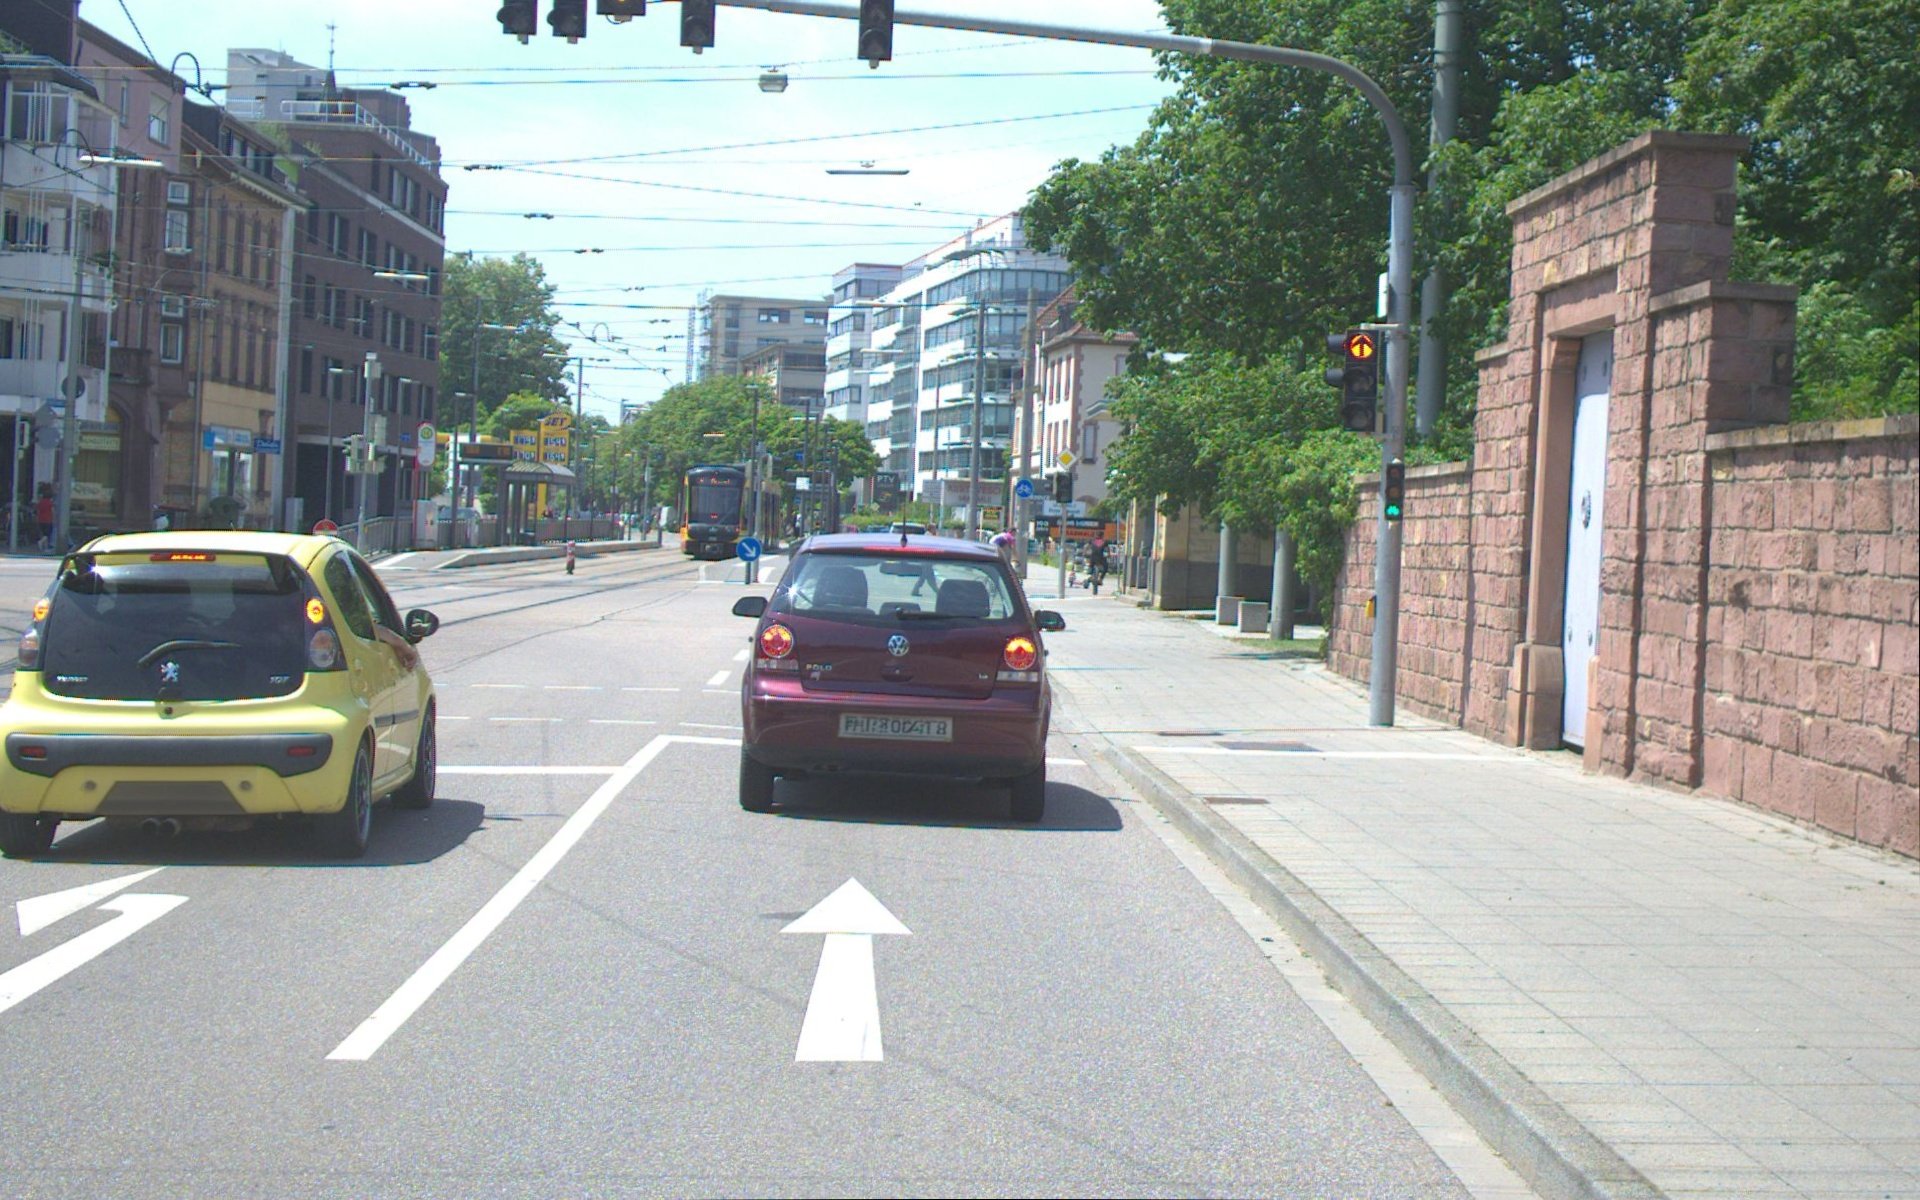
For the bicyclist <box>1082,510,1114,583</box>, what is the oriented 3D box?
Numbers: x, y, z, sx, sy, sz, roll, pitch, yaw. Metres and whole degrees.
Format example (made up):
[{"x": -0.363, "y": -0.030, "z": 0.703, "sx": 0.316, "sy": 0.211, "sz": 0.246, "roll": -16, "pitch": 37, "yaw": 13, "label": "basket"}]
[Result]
[{"x": 3.458, "y": -1.350, "z": 86.330, "sx": 0.721, "sy": 1.812, "sz": 0.888, "roll": 1, "pitch": 0, "yaw": -1, "label": "bicyclist"}]

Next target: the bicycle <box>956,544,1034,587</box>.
[{"x": 0.862, "y": -0.853, "z": 85.053, "sx": 1.865, "sy": 1.004, "sz": 0.579, "roll": 1, "pitch": 0, "yaw": -5, "label": "bicycle"}]

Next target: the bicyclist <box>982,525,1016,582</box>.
[{"x": 0.960, "y": -1.147, "z": 85.016, "sx": 0.765, "sy": 1.401, "sz": 0.506, "roll": 1, "pitch": 0, "yaw": -4, "label": "bicyclist"}]

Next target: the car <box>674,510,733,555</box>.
[{"x": -9.534, "y": -2.502, "z": 128.180, "sx": 1.938, "sy": 1.635, "sz": 4.000, "roll": 1, "pitch": 1, "yaw": -1, "label": "car"}]

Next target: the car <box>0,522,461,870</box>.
[{"x": -3.449, "y": 0.375, "z": 16.355, "sx": 1.723, "sy": 1.440, "sz": 3.293, "roll": 1, "pitch": 2, "yaw": -1, "label": "car"}]

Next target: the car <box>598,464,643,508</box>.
[{"x": -16.331, "y": -5.471, "z": 165.467, "sx": 1.735, "sy": 2.007, "sz": 4.000, "roll": 2, "pitch": 1, "yaw": -1, "label": "car"}]

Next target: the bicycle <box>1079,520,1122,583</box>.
[{"x": 3.492, "y": -1.199, "z": 85.659, "sx": 0.835, "sy": 1.520, "sz": 4.000, "roll": 1, "pitch": 1, "yaw": -1, "label": "bicycle"}]

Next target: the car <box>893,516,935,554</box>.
[{"x": -1.763, "y": -2.473, "z": 130.775, "sx": 1.572, "sy": 1.411, "sz": 3.720, "roll": 0, "pitch": 1, "yaw": -1, "label": "car"}]

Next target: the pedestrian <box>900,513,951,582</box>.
[{"x": -0.860, "y": -1.312, "z": 85.010, "sx": 0.981, "sy": 1.655, "sz": 0.919, "roll": 2, "pitch": 1, "yaw": -16, "label": "pedestrian"}]

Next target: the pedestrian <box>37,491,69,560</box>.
[{"x": -23.152, "y": -1.901, "z": 87.763, "sx": 0.609, "sy": 1.748, "sz": 0.505, "roll": 1, "pitch": 1, "yaw": -45, "label": "pedestrian"}]

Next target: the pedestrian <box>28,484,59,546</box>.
[{"x": -22.755, "y": -2.111, "z": 85.345, "sx": 0.484, "sy": 1.535, "sz": 0.537, "roll": 1, "pitch": 0, "yaw": 24, "label": "pedestrian"}]

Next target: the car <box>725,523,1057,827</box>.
[{"x": -0.389, "y": 0.333, "z": 19.364, "sx": 1.610, "sy": 1.458, "sz": 4.086, "roll": 3, "pitch": 1, "yaw": -1, "label": "car"}]
